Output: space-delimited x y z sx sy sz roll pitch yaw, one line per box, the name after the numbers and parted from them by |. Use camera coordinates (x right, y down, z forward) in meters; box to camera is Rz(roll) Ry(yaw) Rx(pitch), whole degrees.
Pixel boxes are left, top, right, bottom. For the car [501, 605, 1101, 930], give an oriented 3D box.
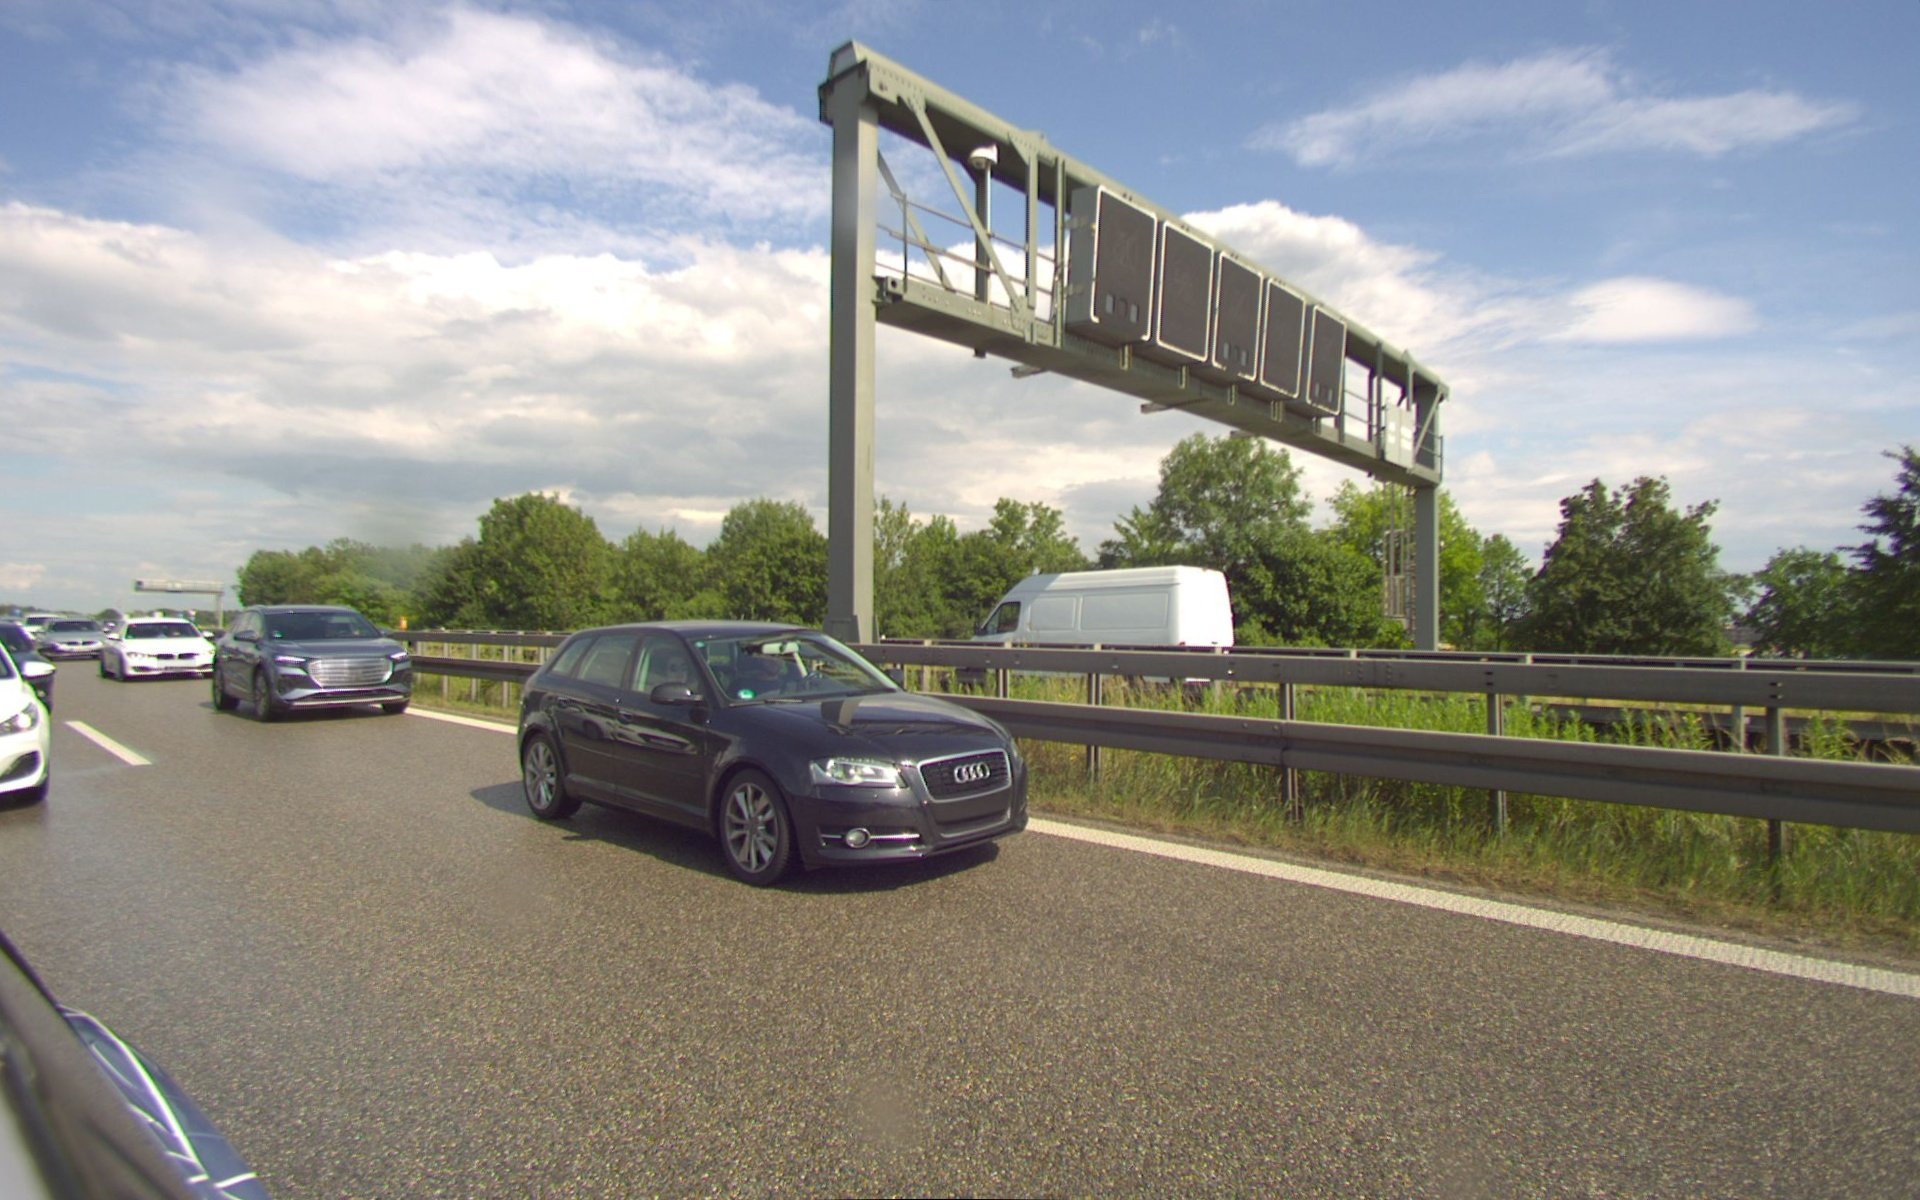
-1.280 0.774 6.623 4.140 1.436 1.747 -1 0 44 | car

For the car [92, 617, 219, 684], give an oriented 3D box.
-18.986 1.127 23.818 4.000 1.389 1.747 0 0 43 | car

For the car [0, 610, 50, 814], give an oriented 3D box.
-9.003 0.835 8.334 4.548 1.466 1.861 -1 -1 43 | car

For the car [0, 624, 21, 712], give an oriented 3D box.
-16.809 1.088 16.647 4.287 1.348 1.705 -1 -1 43 | car

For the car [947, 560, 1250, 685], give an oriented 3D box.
2.433 0.420 19.087 5.558 2.029 1.972 -1 -2 43 | car

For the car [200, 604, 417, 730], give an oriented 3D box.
-9.905 0.895 15.246 4.230 1.618 1.849 -1 -1 44 | car

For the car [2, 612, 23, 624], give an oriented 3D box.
-135.402 2.573 144.651 4.461 1.792 1.971 -1 -1 44 | car

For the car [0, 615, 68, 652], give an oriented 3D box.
-42.743 1.511 46.708 4.000 1.490 1.972 0 1 43 | car

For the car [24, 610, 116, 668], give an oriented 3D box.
-30.662 1.288 34.839 4.000 1.761 1.972 0 1 43 | car
